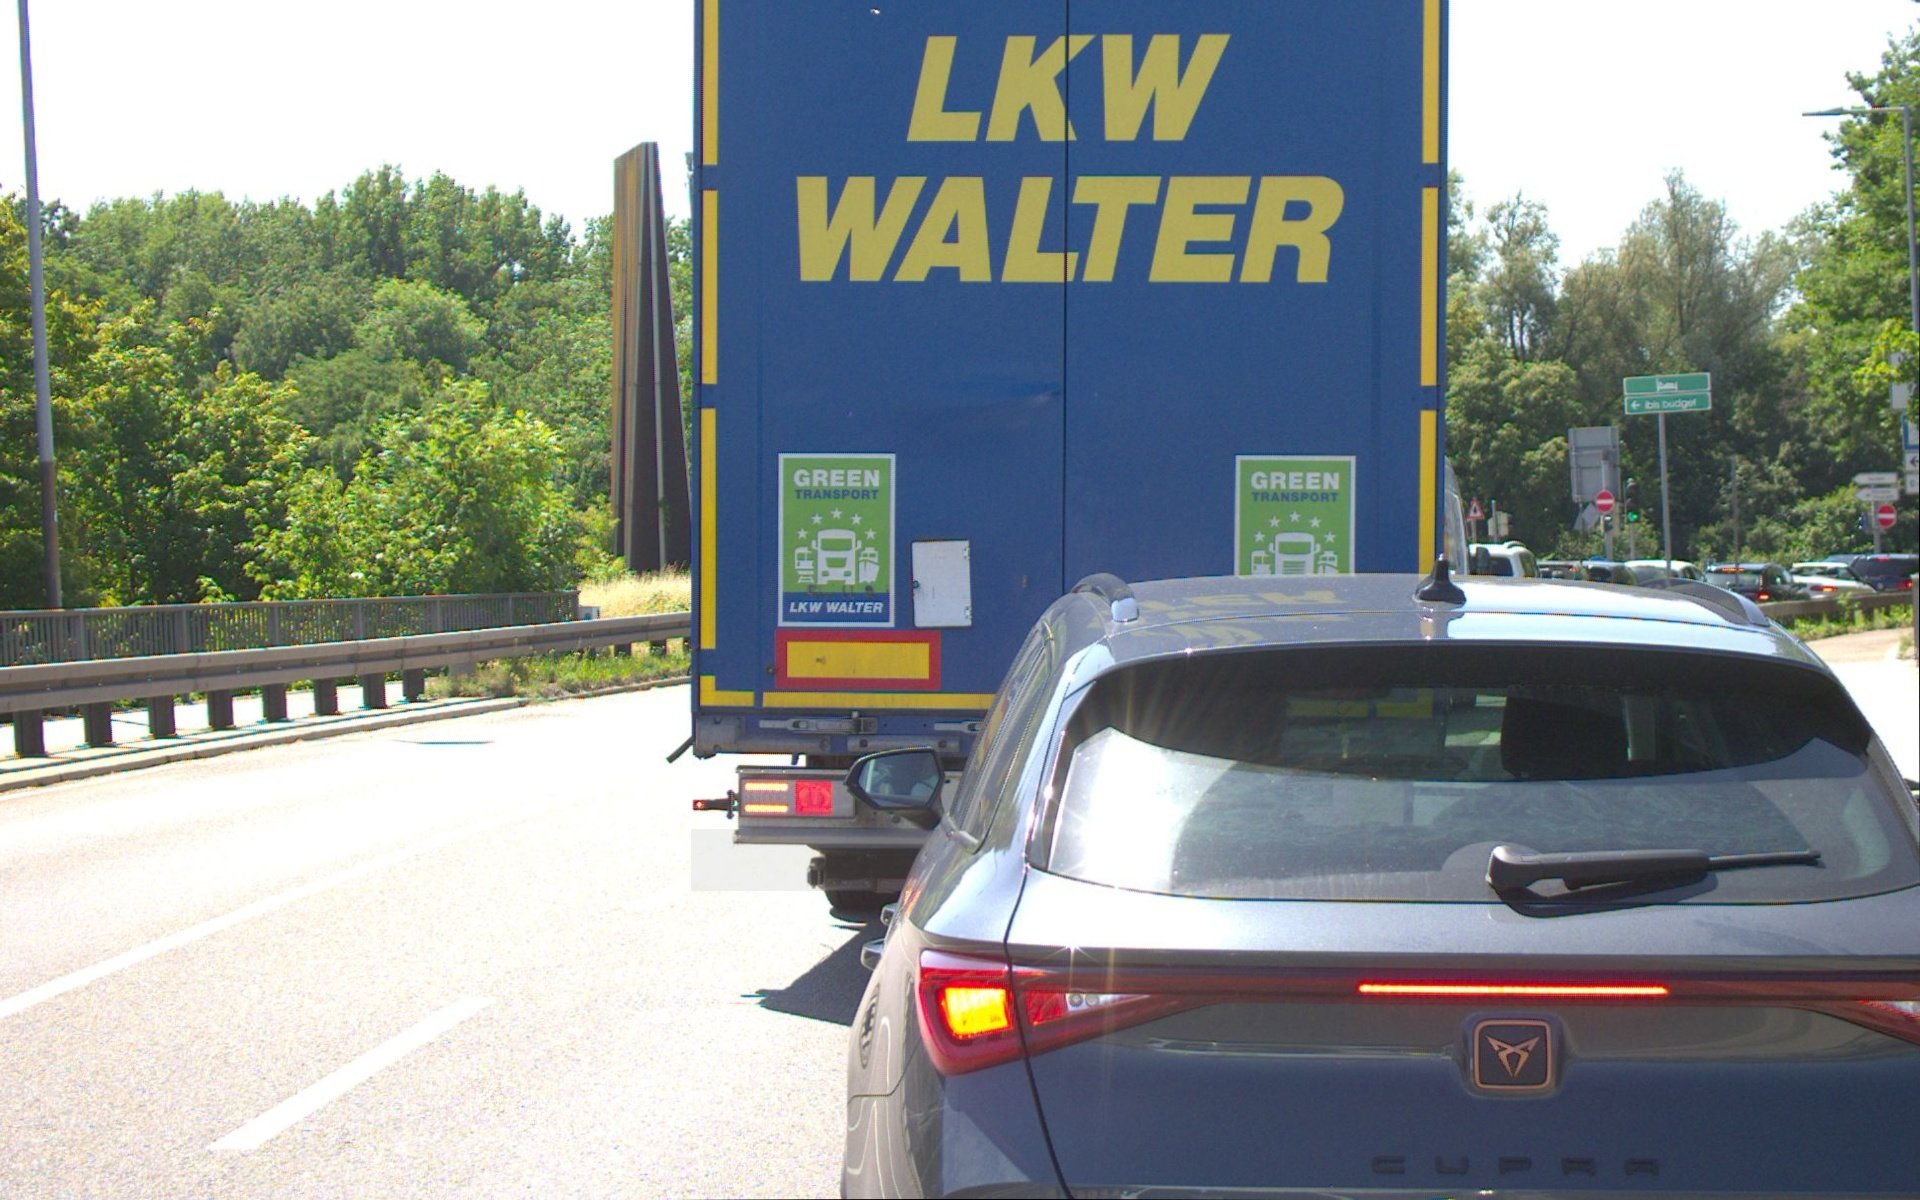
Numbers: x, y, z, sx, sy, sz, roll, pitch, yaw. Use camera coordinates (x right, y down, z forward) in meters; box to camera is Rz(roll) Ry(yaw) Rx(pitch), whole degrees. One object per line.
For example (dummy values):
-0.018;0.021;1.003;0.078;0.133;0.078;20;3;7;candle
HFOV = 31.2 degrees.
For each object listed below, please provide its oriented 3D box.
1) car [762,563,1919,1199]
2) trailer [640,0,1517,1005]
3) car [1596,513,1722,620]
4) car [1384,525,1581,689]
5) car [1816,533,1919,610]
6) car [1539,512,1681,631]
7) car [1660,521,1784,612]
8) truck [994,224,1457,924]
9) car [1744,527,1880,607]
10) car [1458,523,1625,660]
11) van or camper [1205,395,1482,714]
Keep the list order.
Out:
0.670;0.670;5.948;1.677;1.451;3.958;0;1;2;car
1.143;-0.999;17.569;2.905;4.403;12.430;0;1;7;trailer
12.534;-0.621;61.514;1.722;1.837;3.996;0;1;19;car
6.281;0.035;41.008;1.722;1.837;3.997;0;2;18;car
21.354;-0.655;80.376;1.688;1.754;3.994;0;0;28;car
10.505;-0.488;55.382;1.722;1.837;3.996;0;1;19;car
15.138;-0.651;68.157;1.687;1.754;3.995;0;0;23;car
2.085;-0.228;25.060;2.905;4.403;6.554;0;1;7;truck
18.465;-0.688;74.414;1.996;1.570;3.994;2;0;26;car
8.042;-0.157;47.325;1.722;1.796;3.997;0;1;18;car
3.870;-0.462;33.625;2.155;2.806;6.384;0;1;11;van or camper
